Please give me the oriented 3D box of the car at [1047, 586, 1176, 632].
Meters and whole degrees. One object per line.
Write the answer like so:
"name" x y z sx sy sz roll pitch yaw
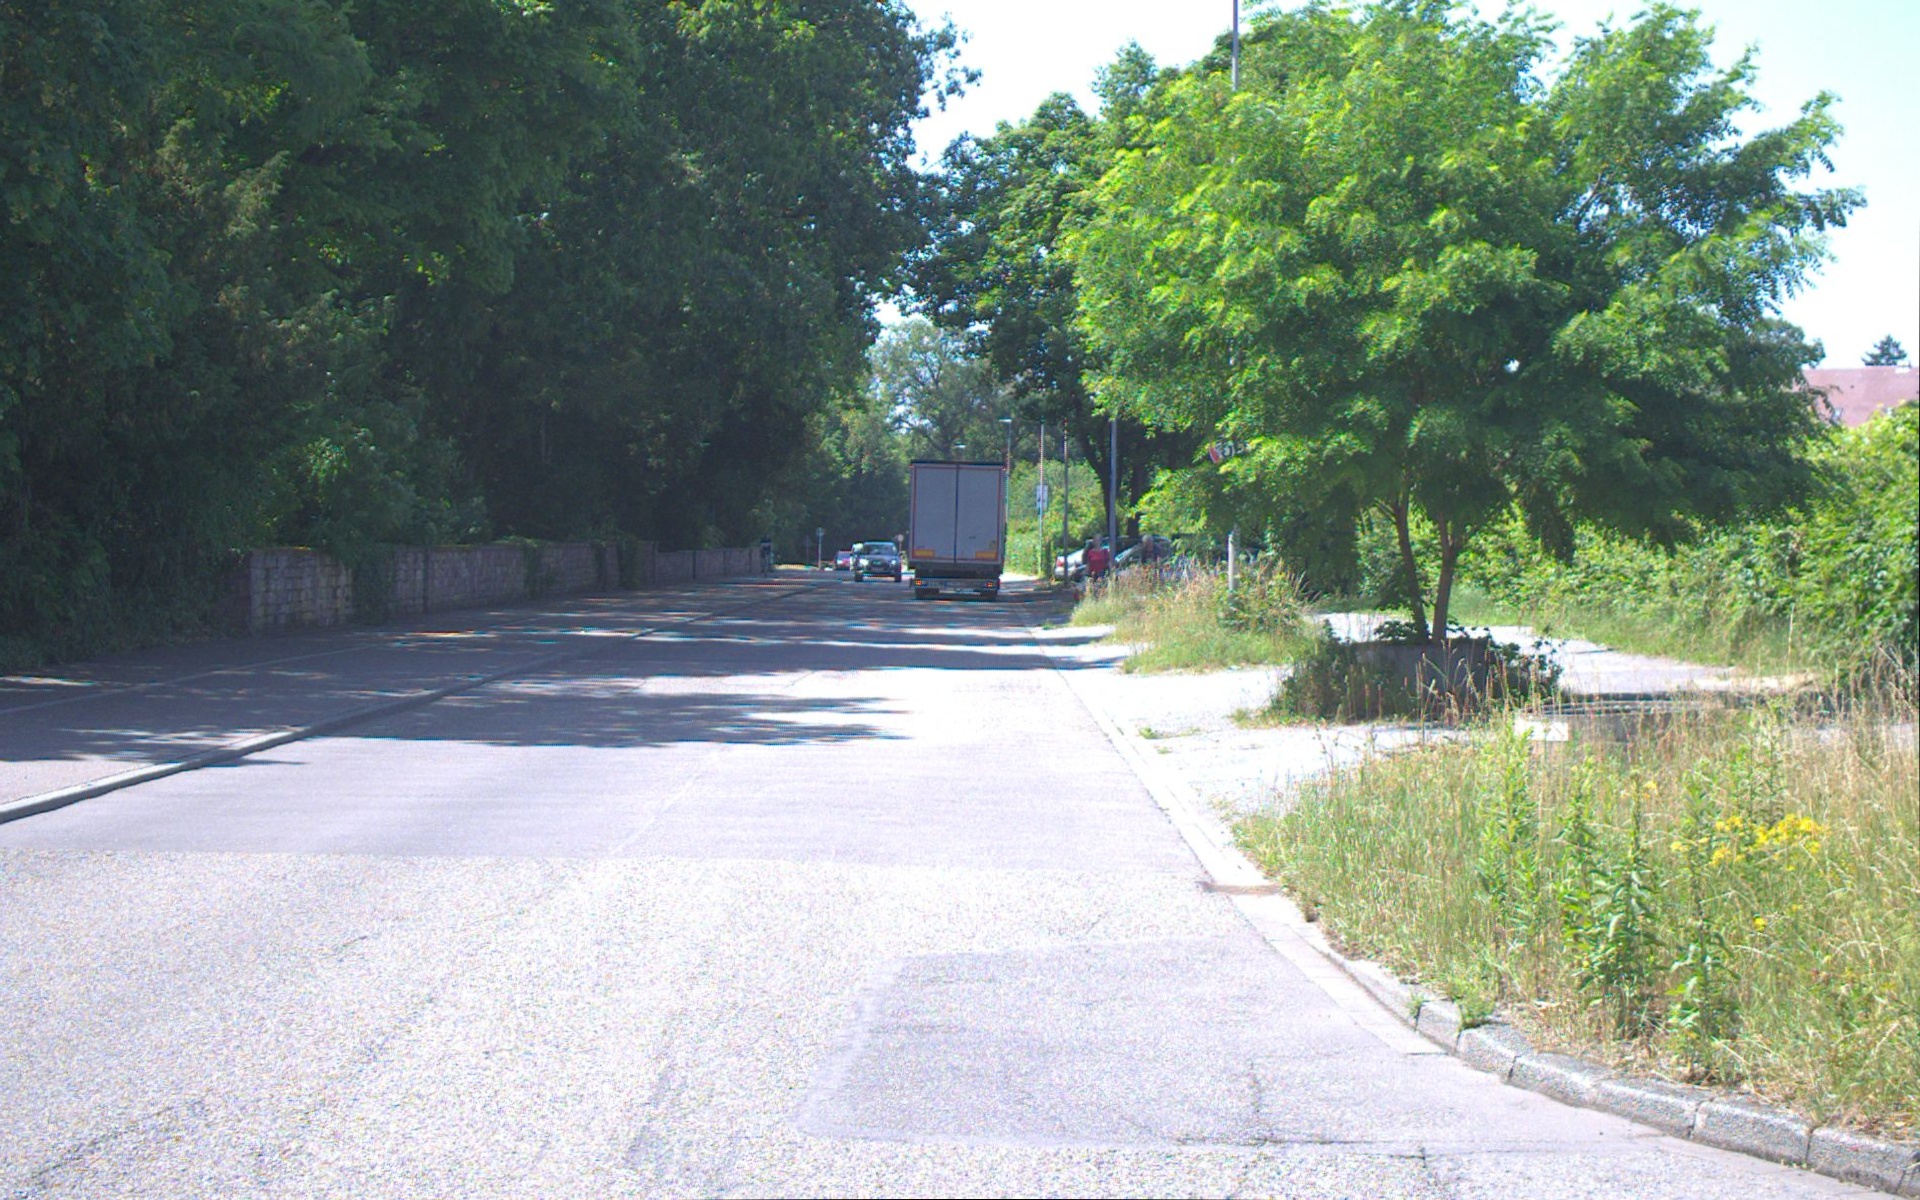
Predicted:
"car" 5.004 0.296 113.622 4.196 1.440 1.738 1 0 1

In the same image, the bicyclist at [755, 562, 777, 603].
"bicyclist" -8.070 -0.724 142.943 0.832 1.710 0.957 1 0 1

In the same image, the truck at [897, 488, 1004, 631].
"truck" -0.201 -1.117 98.722 2.733 3.733 13.245 2 0 0

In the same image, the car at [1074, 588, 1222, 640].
"car" 5.416 0.404 99.323 4.196 1.440 1.738 1 0 1

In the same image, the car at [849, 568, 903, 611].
"car" -3.360 -0.422 137.630 1.993 1.678 4.262 1 0 0

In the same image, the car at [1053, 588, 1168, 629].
"car" 5.558 0.307 127.446 4.196 1.440 1.738 1 0 1

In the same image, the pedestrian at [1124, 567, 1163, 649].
"pedestrian" 3.891 0.164 72.975 0.739 1.732 0.886 1 0 -1

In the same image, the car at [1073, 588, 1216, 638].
"car" 5.509 0.390 102.863 4.196 1.440 1.738 1 0 1

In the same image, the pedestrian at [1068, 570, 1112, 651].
"pedestrian" 2.723 0.219 72.055 0.863 1.671 0.886 1 0 -1

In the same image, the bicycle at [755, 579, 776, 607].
"bicycle" -8.076 -0.285 142.949 0.718 1.155 2.230 1 0 0
